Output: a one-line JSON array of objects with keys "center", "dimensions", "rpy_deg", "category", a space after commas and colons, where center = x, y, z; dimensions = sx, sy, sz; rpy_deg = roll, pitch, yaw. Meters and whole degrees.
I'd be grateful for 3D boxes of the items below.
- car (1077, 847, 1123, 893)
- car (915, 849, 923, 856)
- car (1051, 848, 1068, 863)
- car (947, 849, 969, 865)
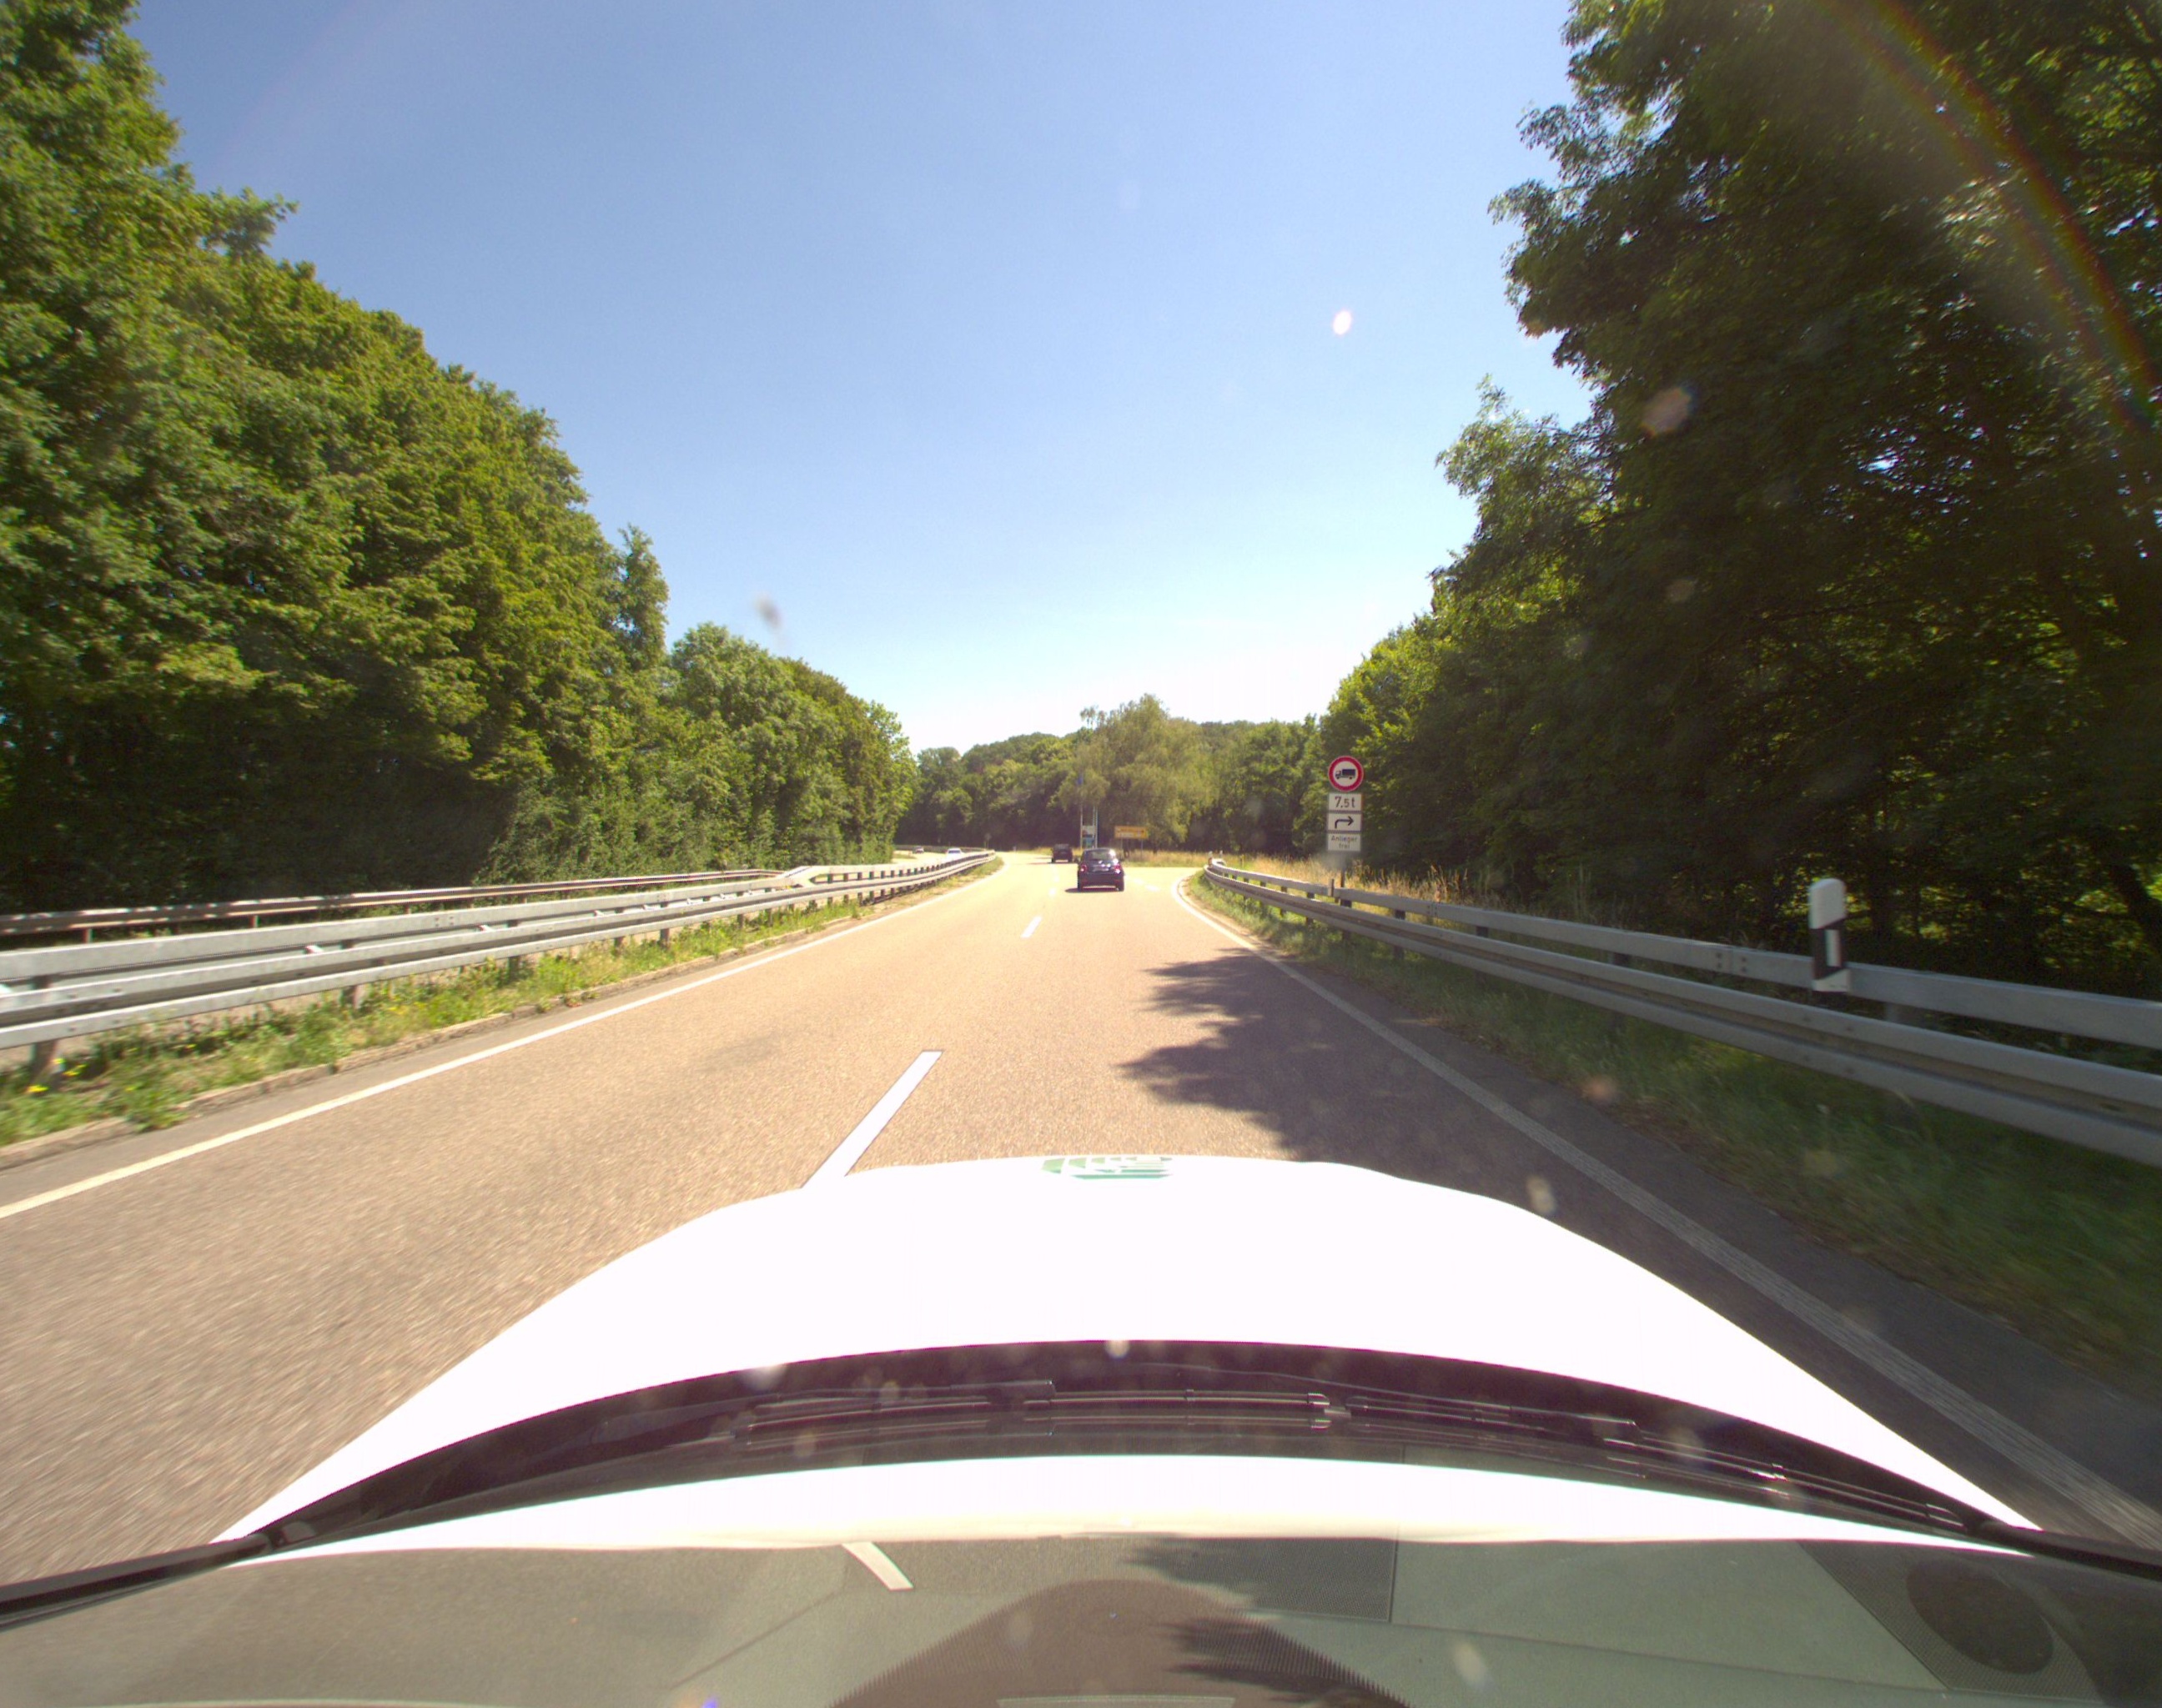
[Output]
[{"center": [0.717, 0.531, 29.046], "dimensions": [1.507, 1.501, 3.592], "rpy_deg": [-1, 0, 2], "category": "car"}, {"center": [-34.472, -0.398, 173.211], "dimensions": [1.444, 1.381, 3.826], "rpy_deg": [-2, 1, -17], "category": "car"}, {"center": [-1.968, 0.117, 74.614], "dimensions": [1.521, 1.313, 3.412], "rpy_deg": [-2, 0, -2], "category": "car"}, {"center": [-13.159, 0.300, 87.304], "dimensions": [1.750, 1.572, 4.412], "rpy_deg": [-1, 0, -1], "category": "car"}]
